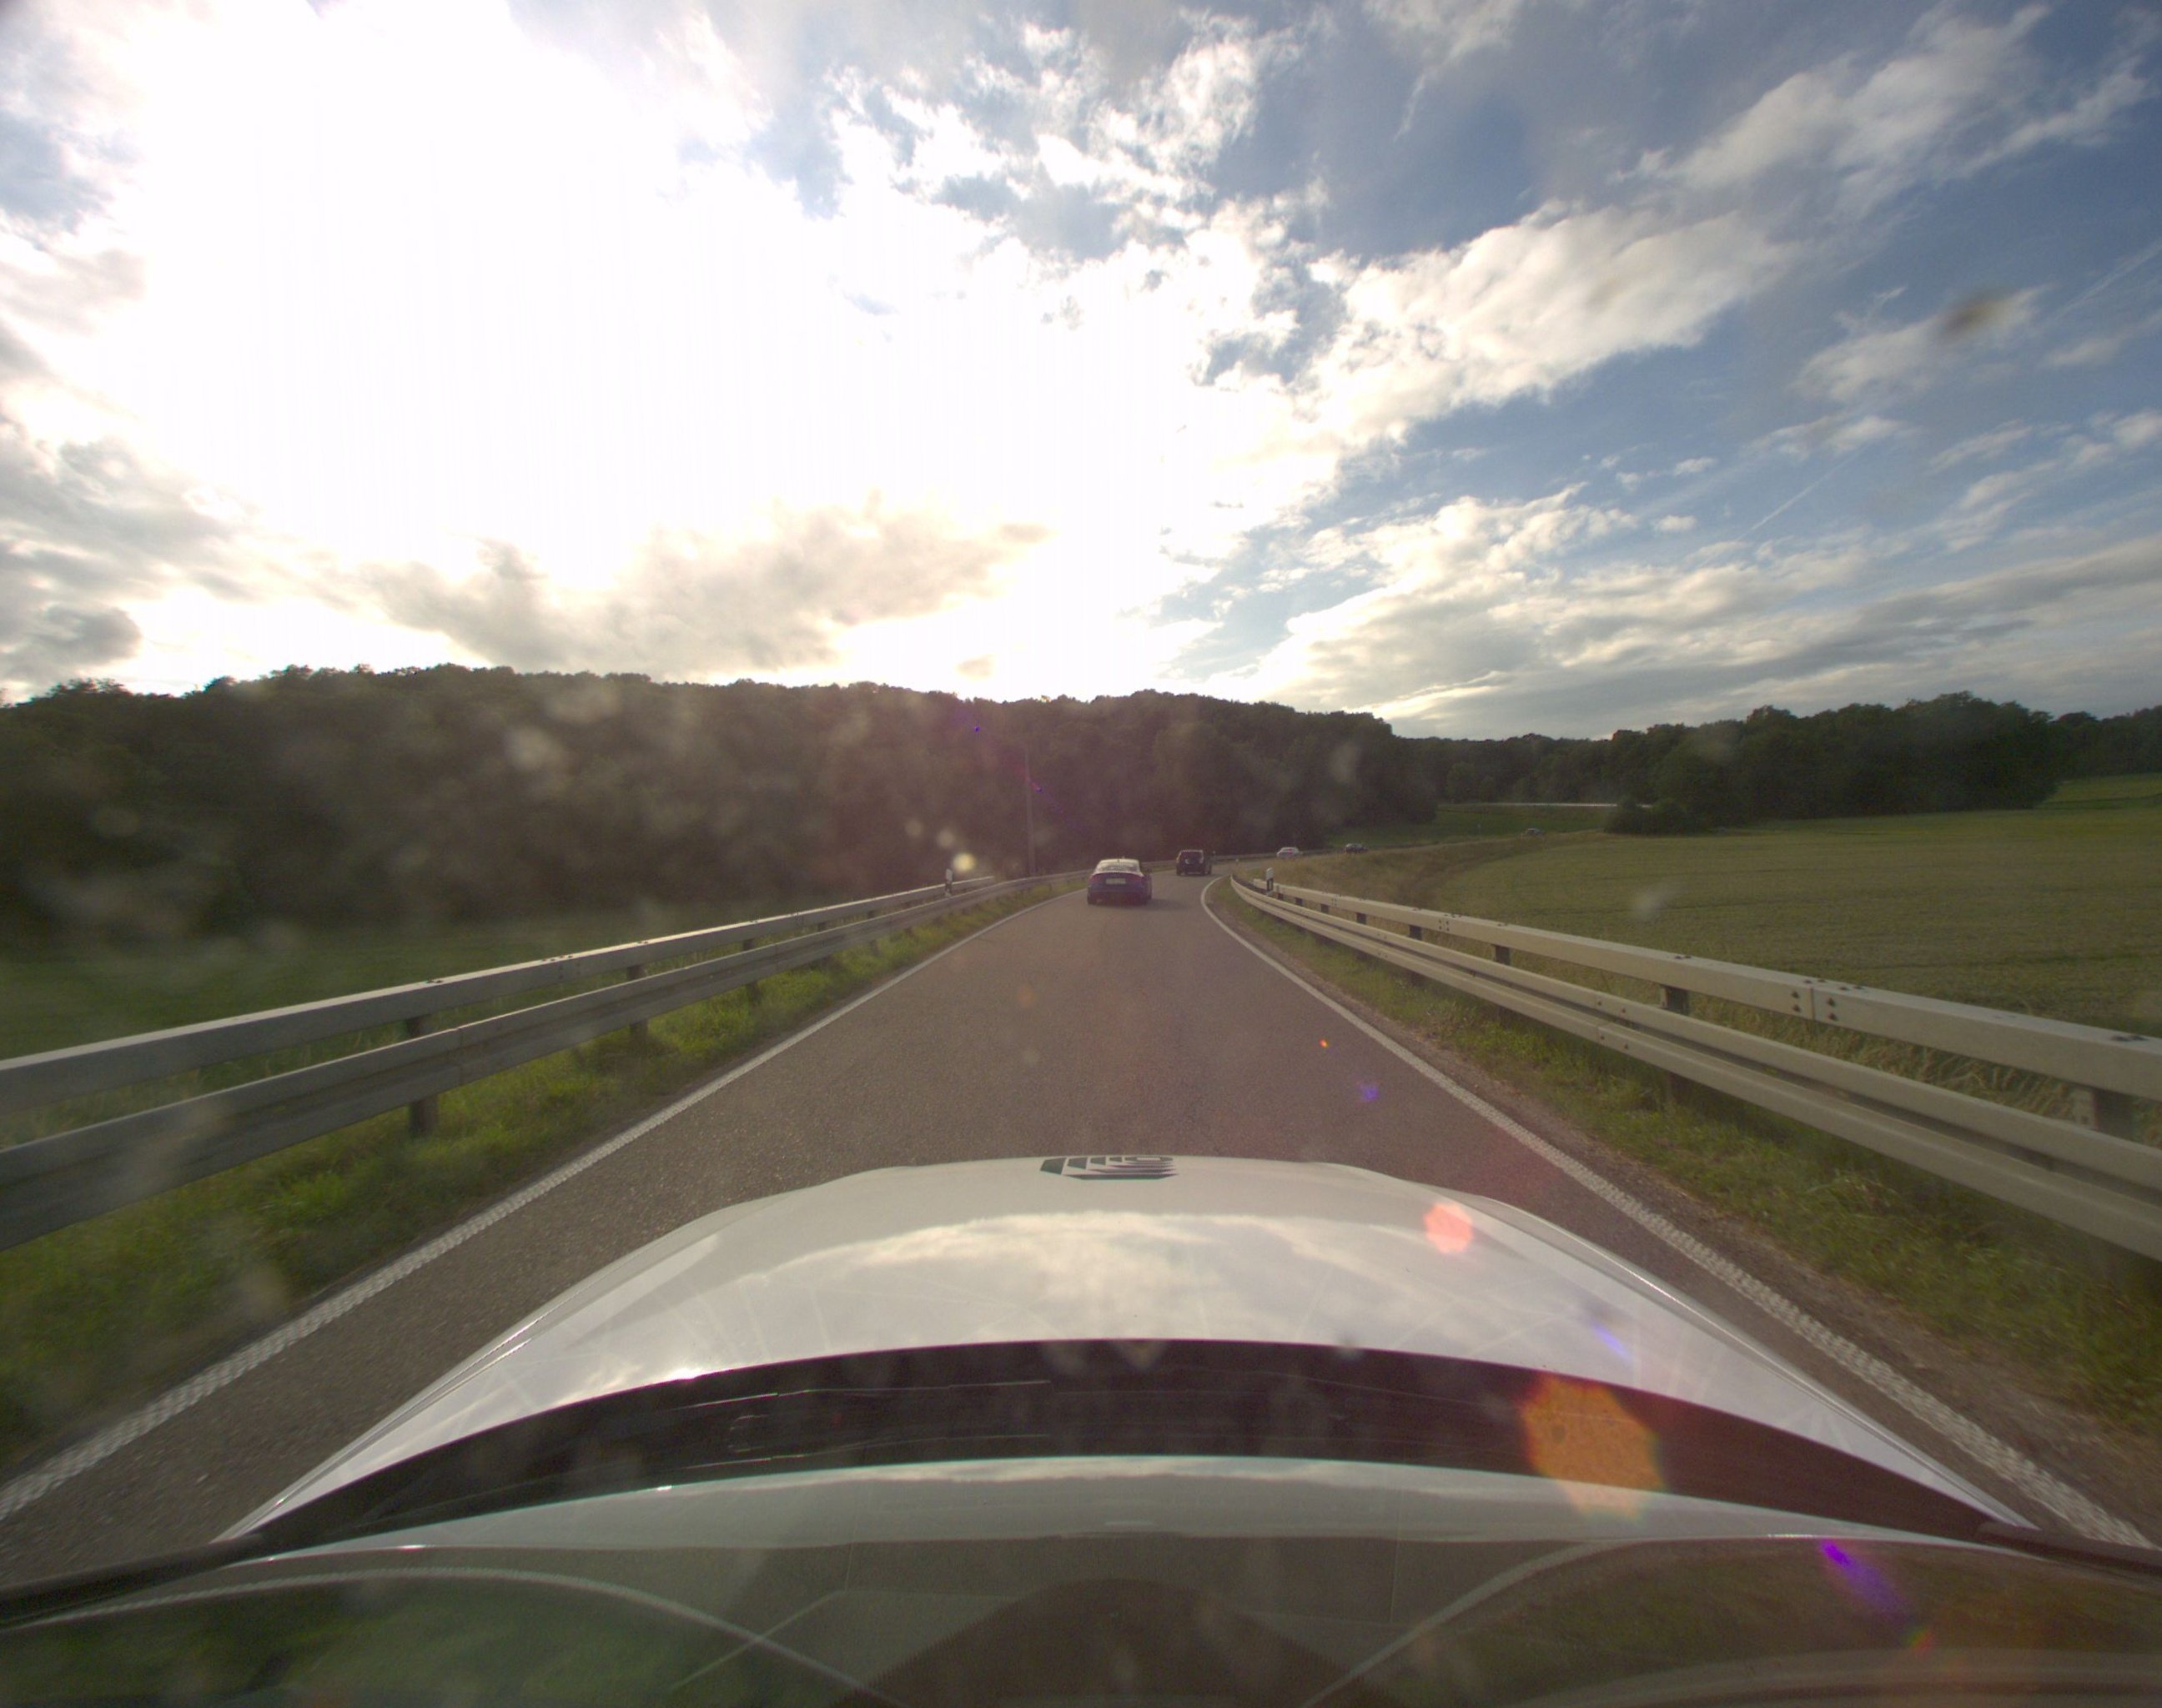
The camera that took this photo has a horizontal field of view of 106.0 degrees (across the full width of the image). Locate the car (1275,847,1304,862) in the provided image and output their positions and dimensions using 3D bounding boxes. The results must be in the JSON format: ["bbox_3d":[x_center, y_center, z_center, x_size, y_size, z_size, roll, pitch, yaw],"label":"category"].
[{"bbox_3d":[21.813,-0.002,85.132,1.666,1.376,4.026,-3,0,33],"label":"car"}]

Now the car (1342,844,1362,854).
[{"bbox_3d":[34.619,-0.607,104.006,1.457,1.227,3.320,-3,-2,36],"label":"car"}]

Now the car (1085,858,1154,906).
[{"bbox_3d":[1.305,0.831,25.900,1.808,1.339,4.359,-1,0,7],"label":"car"}]

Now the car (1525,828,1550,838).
[{"bbox_3d":[81.016,-3.732,144.655,4.190,1.679,1.981,-3,1,-30],"label":"car"}]

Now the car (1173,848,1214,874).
[{"bbox_3d":[7.197,0.406,51.745,1.846,1.568,4.020,-1,1,19],"label":"car"}]
